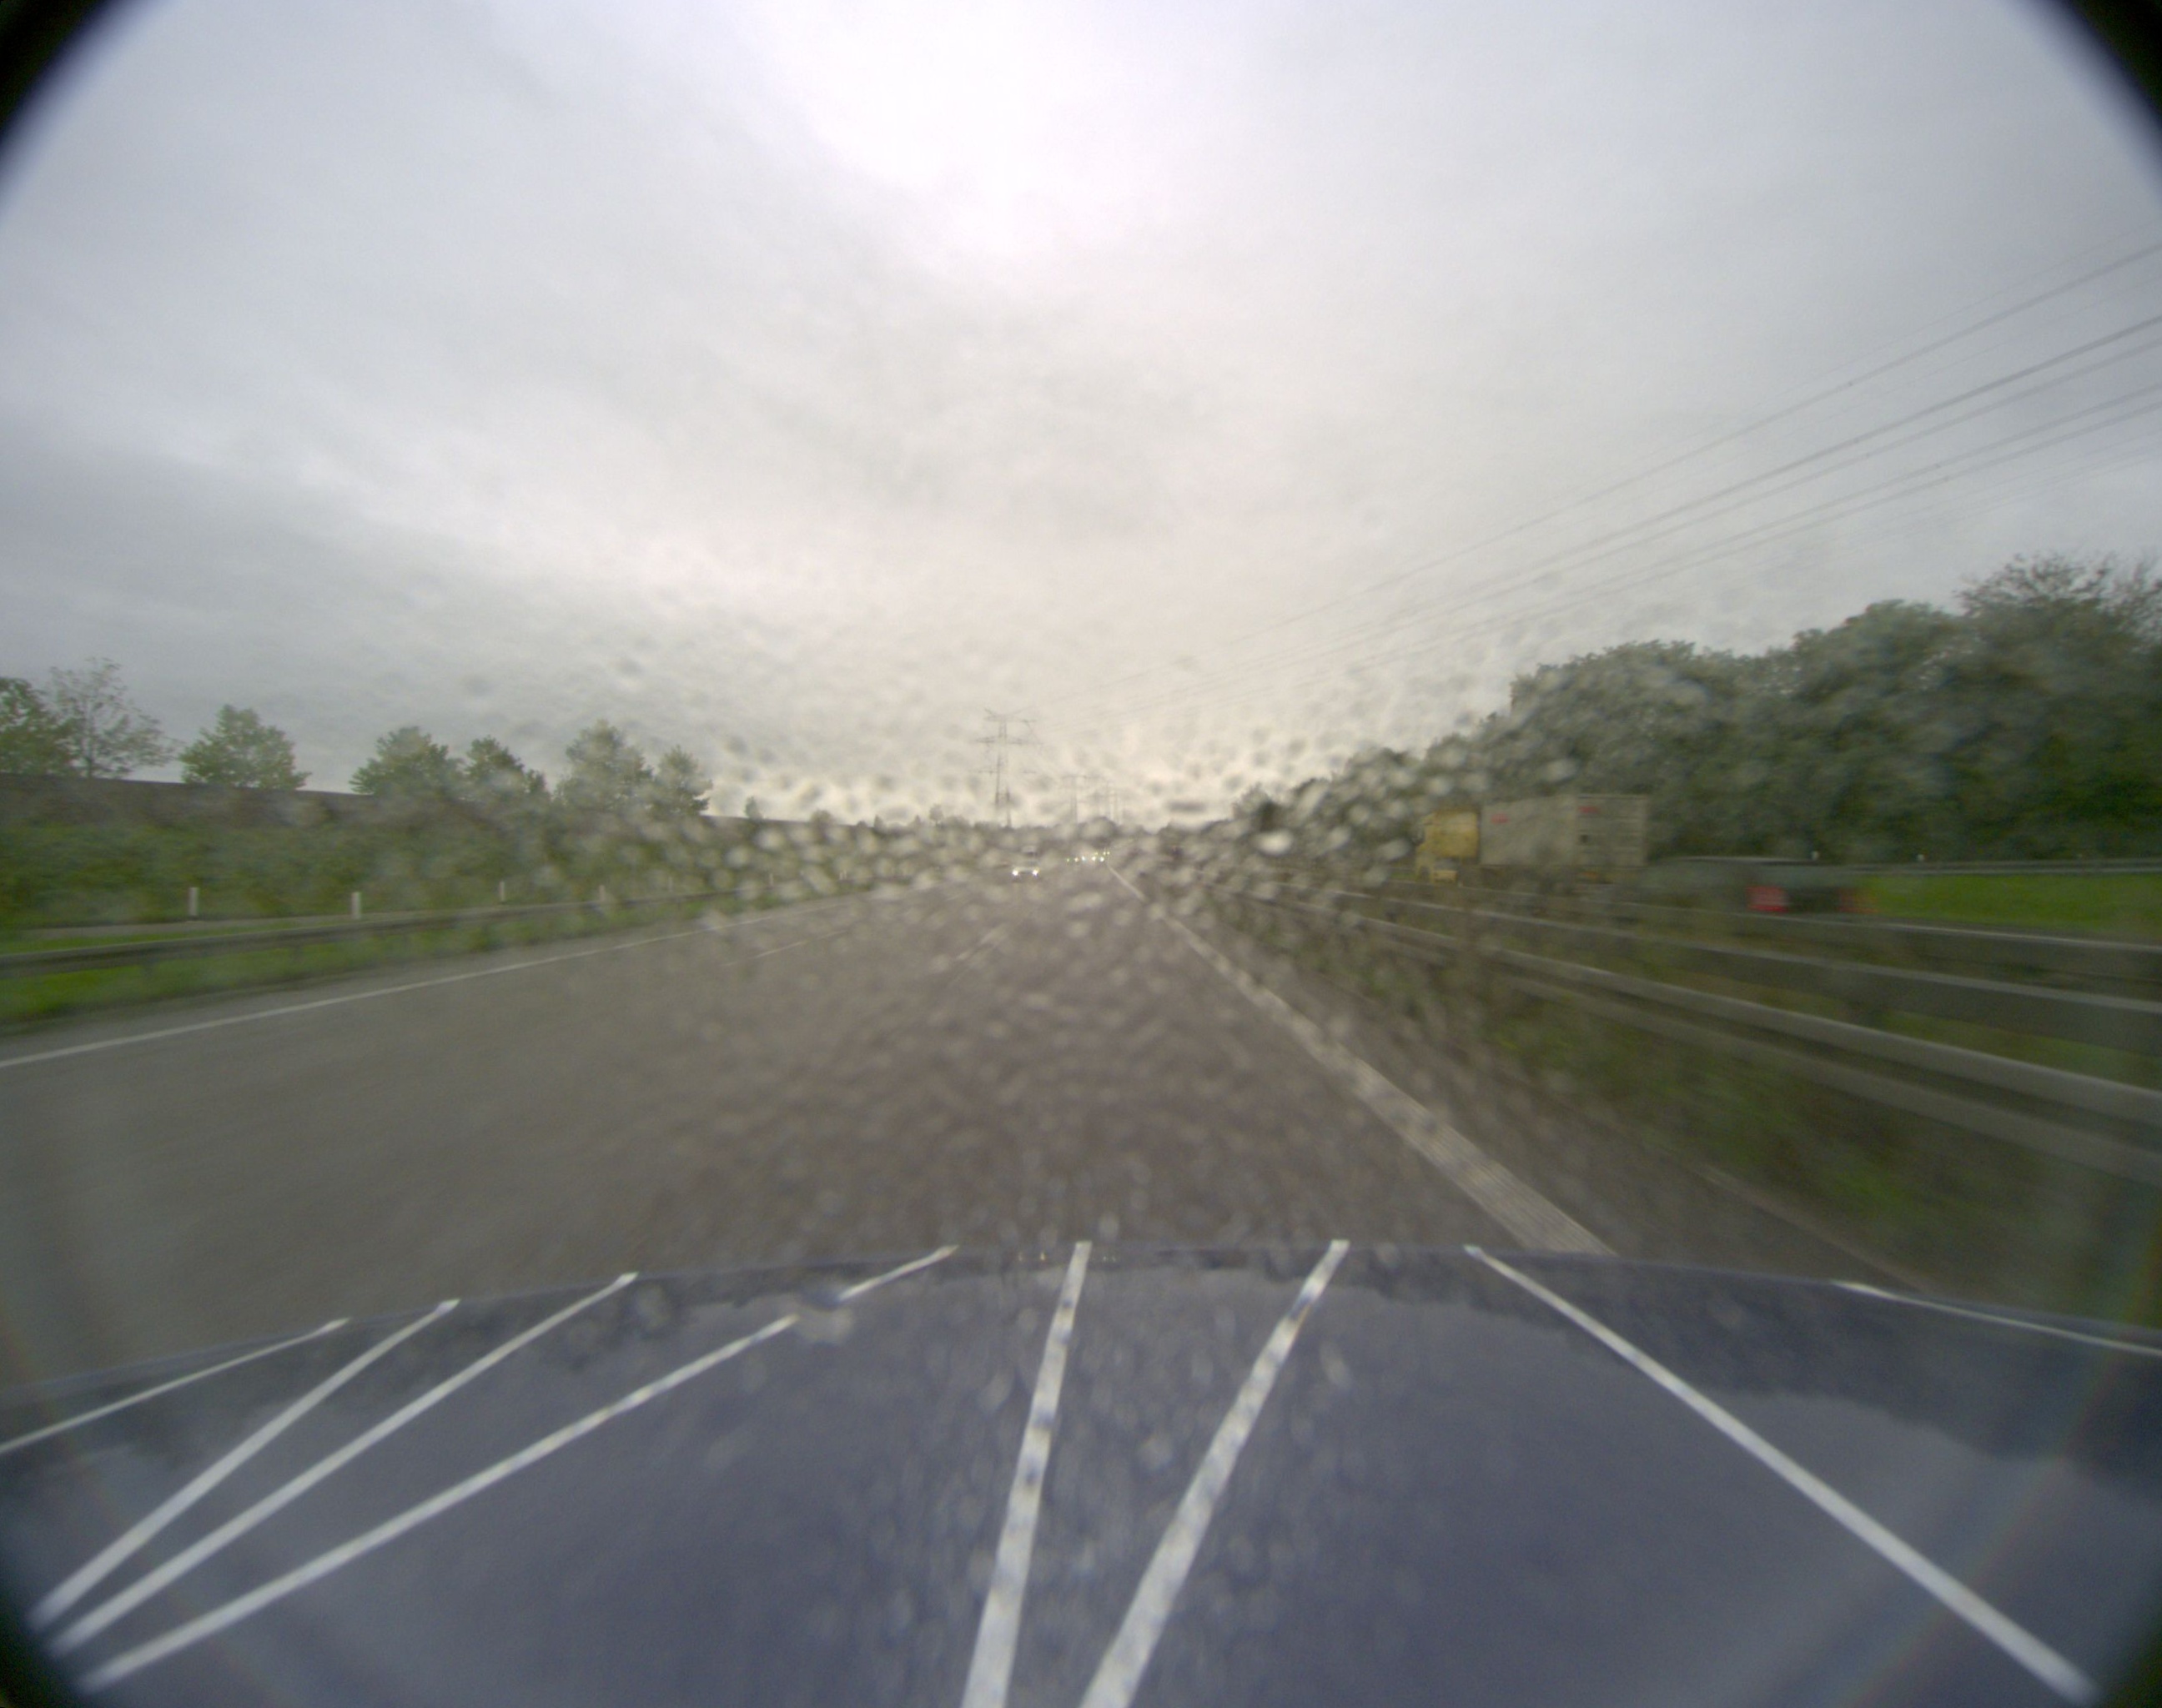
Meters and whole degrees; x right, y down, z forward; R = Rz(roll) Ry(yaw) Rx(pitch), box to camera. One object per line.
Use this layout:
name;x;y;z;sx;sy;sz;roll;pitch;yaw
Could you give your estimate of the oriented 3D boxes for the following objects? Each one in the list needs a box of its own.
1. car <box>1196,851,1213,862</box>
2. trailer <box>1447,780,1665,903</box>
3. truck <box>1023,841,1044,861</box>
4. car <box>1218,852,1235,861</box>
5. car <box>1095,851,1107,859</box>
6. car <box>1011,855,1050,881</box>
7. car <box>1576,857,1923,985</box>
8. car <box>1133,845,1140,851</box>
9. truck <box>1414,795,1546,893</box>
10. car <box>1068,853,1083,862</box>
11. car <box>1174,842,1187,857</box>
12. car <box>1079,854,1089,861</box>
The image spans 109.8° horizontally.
car;17.489;0.390;107.770;1.879;1.485;4.514;0;0;1
trailer;17.915;-0.415;29.710;2.769;4.032;9.200;1;0;1
truck;-8.249;-0.569;133.001;2.648;3.325;6.931;-2;1;4
car;24.683;0.415;129.226;1.973;1.534;3.998;-1;0;-3
car;3.574;0.176;135.346;1.998;1.419;4.000;-2;1;4
car;-3.224;0.877;49.409;1.998;1.419;4.000;-2;1;4
car;9.498;0.828;11.312;1.668;1.533;4.000;0;0;1
car;17.170;-1.895;235.091;1.928;1.646;4.790;0;0;2
truck;17.930;-0.419;34.640;2.769;4.032;6.156;1;0;1
car;-0.895;0.555;122.408;1.998;1.419;4.000;-2;1;4
car;21.741;-0.976;166.432;2.259;3.308;6.175;0;1;2
car;0.690;0.712;163.767;1.856;1.419;4.000;-2;1;4
